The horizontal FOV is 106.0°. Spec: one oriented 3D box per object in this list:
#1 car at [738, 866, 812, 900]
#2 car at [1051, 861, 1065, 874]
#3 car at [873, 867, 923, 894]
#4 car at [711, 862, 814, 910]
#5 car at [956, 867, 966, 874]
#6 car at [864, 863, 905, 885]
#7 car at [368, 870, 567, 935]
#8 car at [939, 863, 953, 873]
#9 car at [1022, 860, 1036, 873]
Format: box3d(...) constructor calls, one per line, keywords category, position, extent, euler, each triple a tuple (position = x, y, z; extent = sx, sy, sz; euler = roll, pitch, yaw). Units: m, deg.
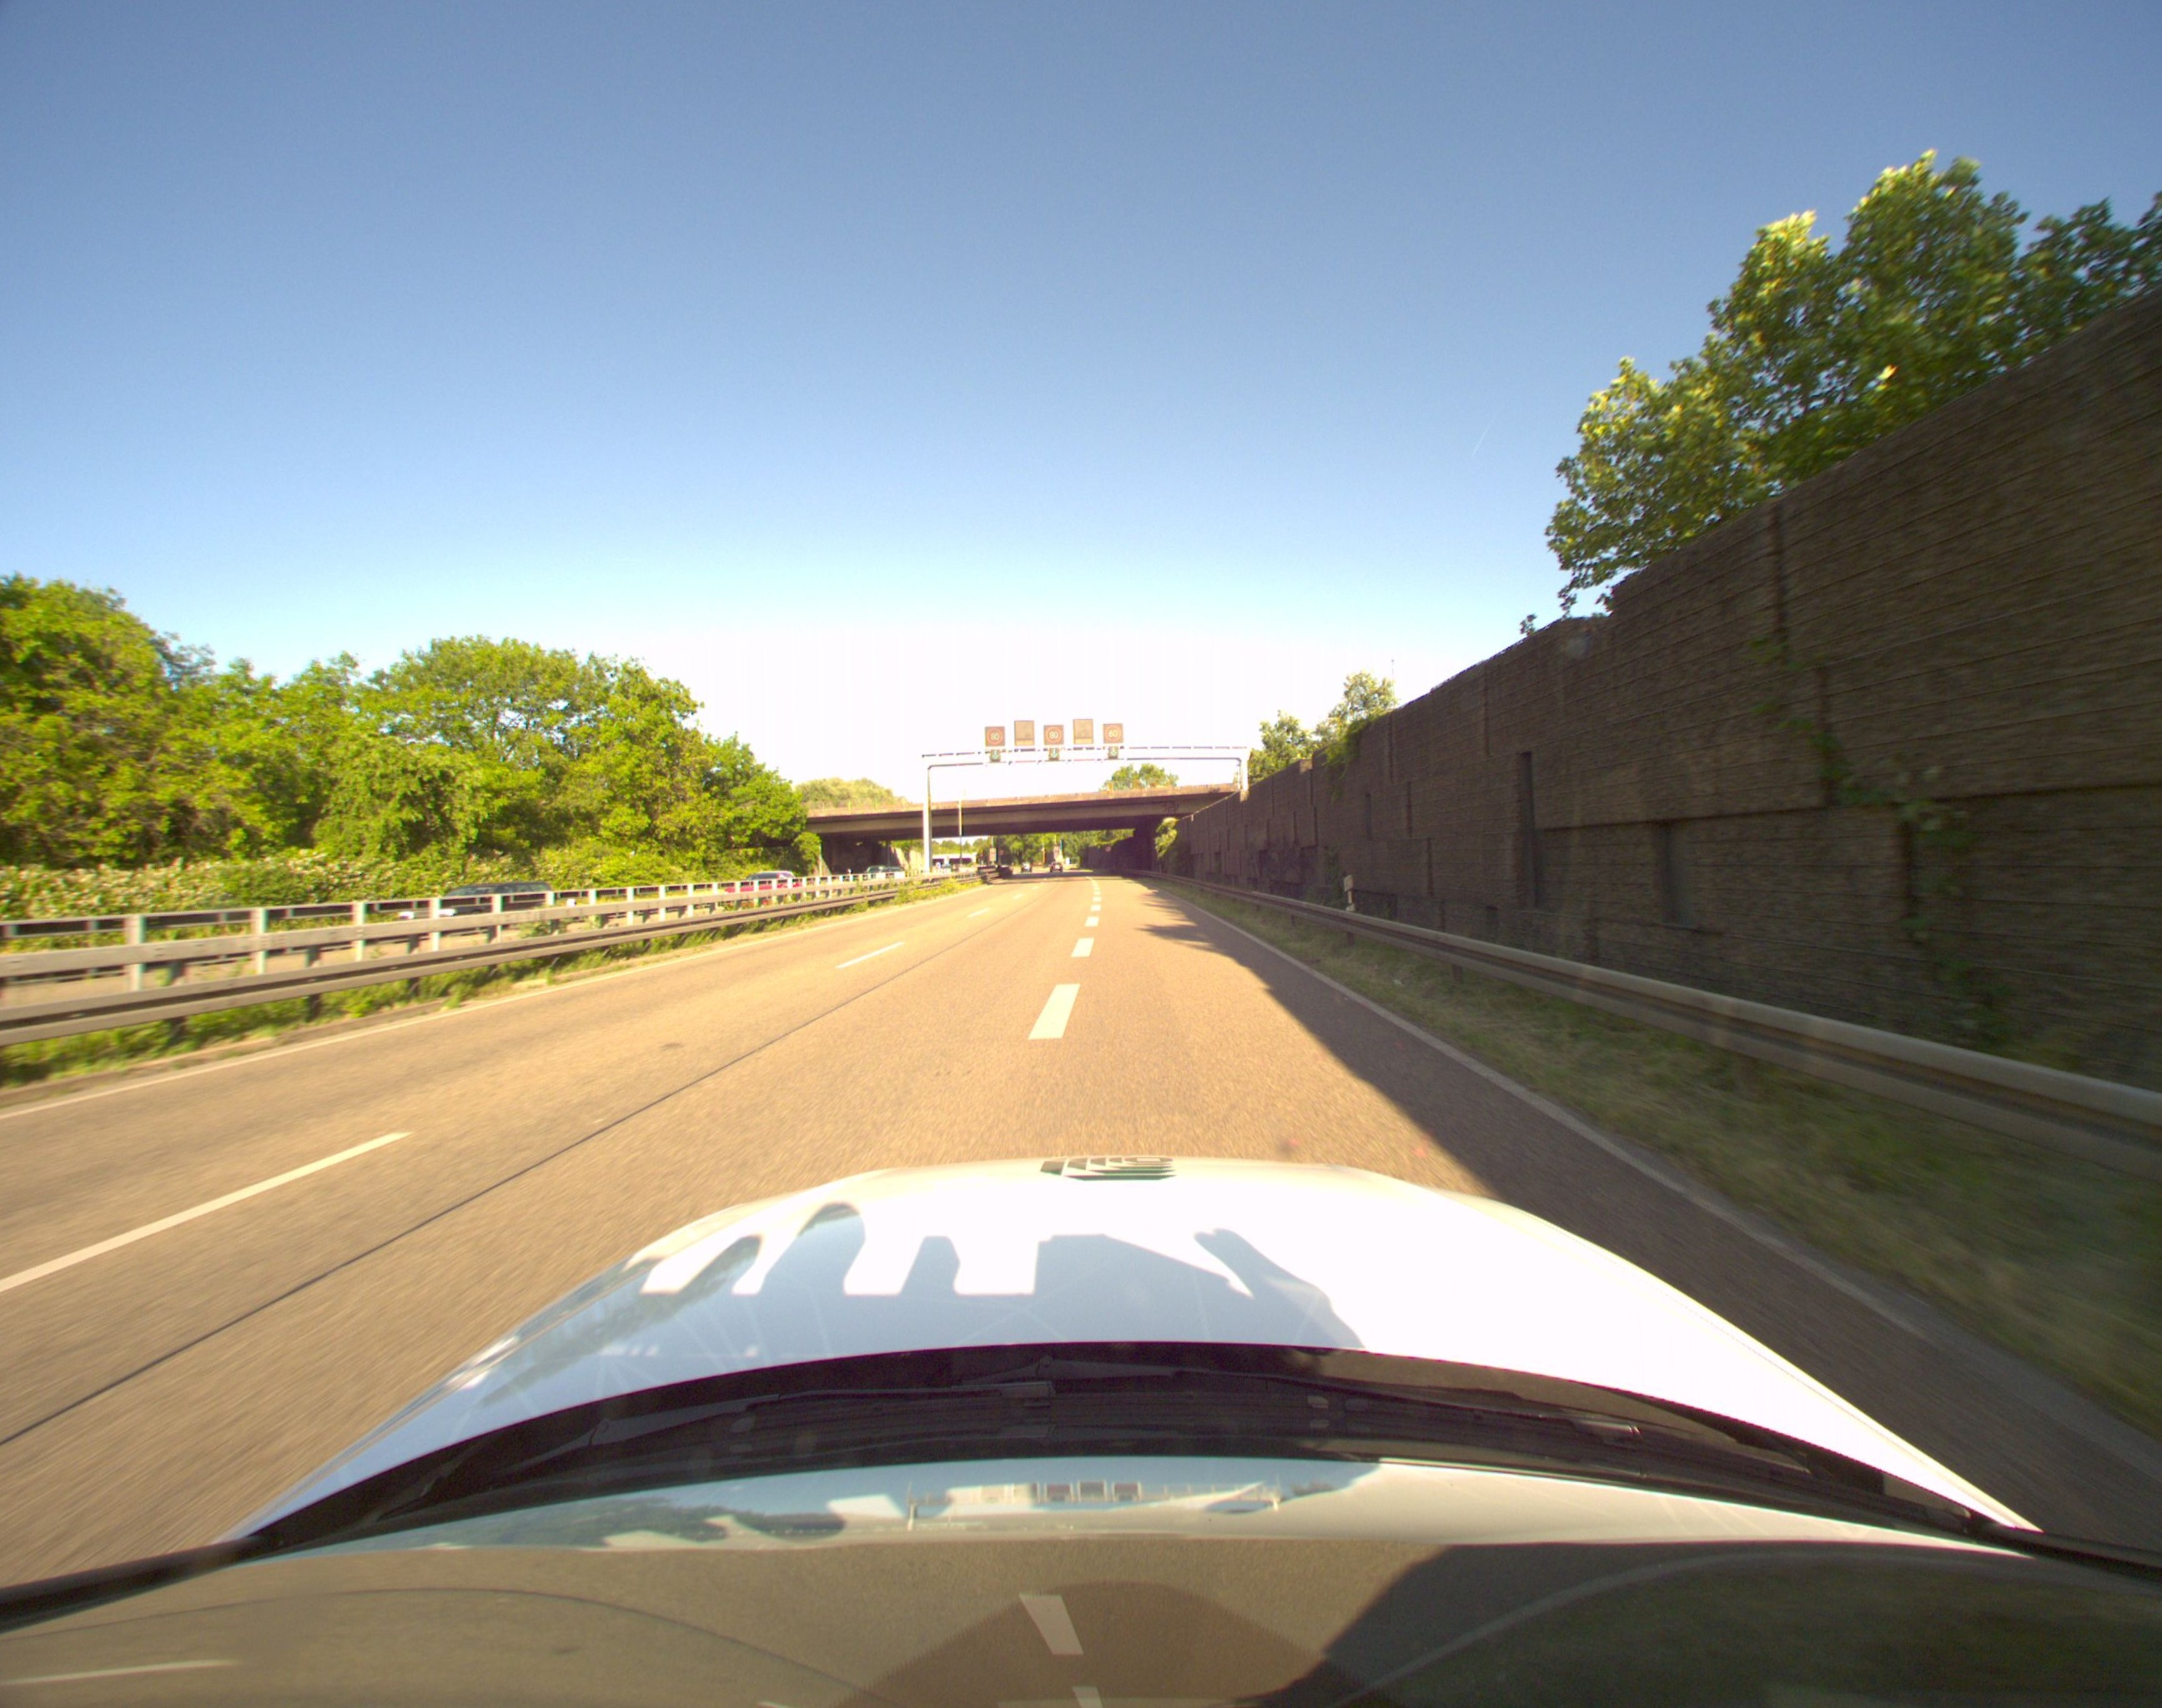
box3d(category="car", position=(-16.377, 1.506, 43.854), extent=(1.985, 1.641, 4.724), euler=(-1, 0, 3))
box3d(category="car", position=(-3.319, 1.982, 120.297), extent=(1.988, 1.926, 3.998), euler=(-1, 0, -1))
box3d(category="car", position=(-12.070, 1.715, 53.921), extent=(1.985, 1.641, 4.724), euler=(-1, 0, 3))
box3d(category="car", position=(-12.693, 1.220, 32.823), extent=(1.985, 1.641, 4.724), euler=(-4, 0, 3))
box3d(category="car", position=(-29.028, 3.930, 196.834), extent=(1.989, 1.596, 4.422), euler=(-2, 0, -3))
box3d(category="car", position=(-15.873, 1.591, 66.026), extent=(1.985, 1.641, 4.724), euler=(-1, 0, 3))
box3d(category="car", position=(-18.212, 1.353, 24.573), extent=(1.985, 1.641, 5.030), euler=(-1, 0, 3))
box3d(category="car", position=(-25.614, 2.669, 154.985), extent=(1.989, 1.706, 4.556), euler=(-3, 0, -3))
box3d(category="car", position=(-8.223, 2.008, 128.349), extent=(1.988, 1.926, 3.998), euler=(-1, 0, -1))
